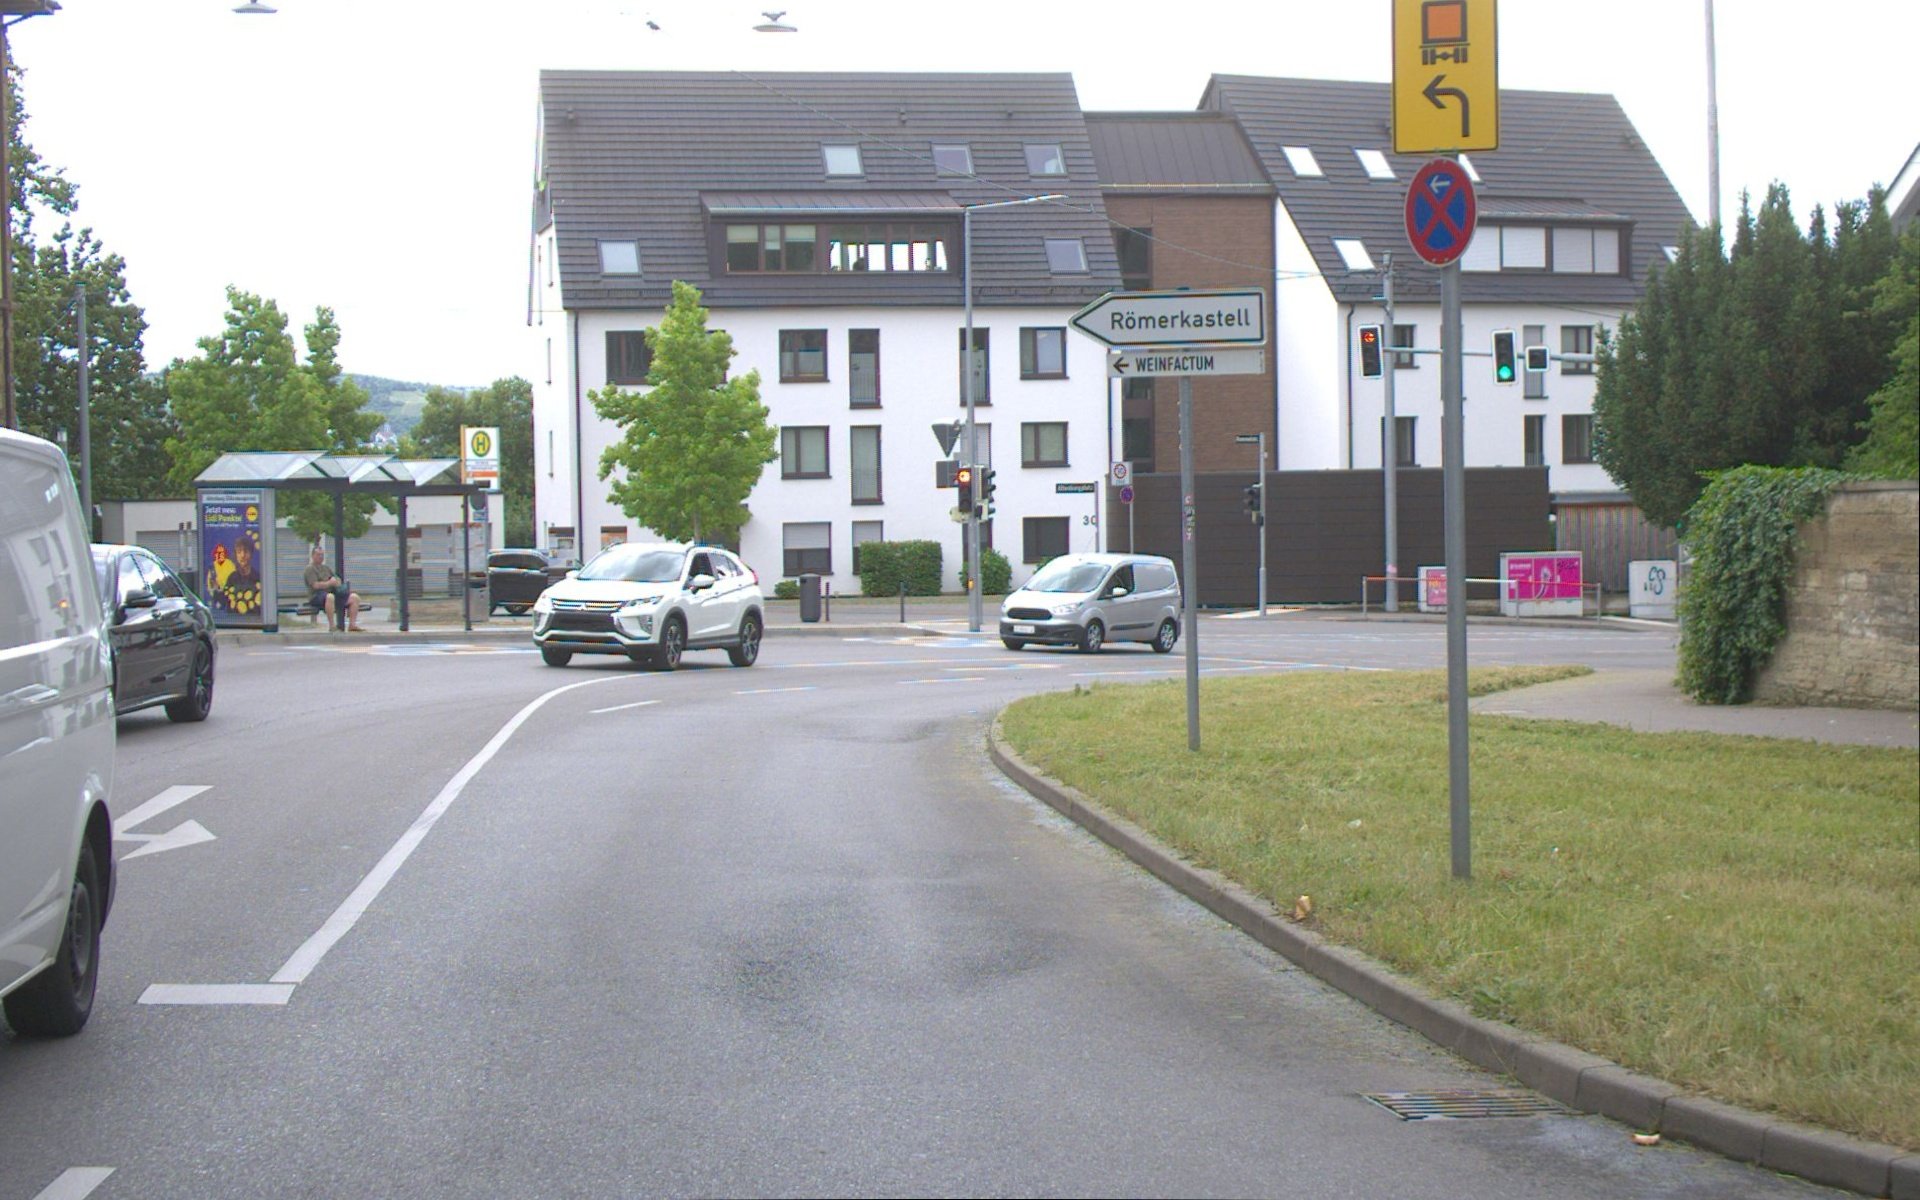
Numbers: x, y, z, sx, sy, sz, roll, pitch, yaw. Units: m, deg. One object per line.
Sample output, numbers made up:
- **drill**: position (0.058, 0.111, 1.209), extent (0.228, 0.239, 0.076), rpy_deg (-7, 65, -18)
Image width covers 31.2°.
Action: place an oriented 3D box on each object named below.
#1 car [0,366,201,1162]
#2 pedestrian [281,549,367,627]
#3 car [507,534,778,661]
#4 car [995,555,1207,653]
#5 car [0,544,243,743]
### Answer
- **car**: position (-3.476, 0.401, 8.869), extent (2.204, 1.924, 5.241), rpy_deg (-1, 1, -4)
- **pedestrian**: position (-9.860, -0.182, 53.325), extent (0.933, 1.188, 0.904), rpy_deg (1, 0, 24)
- **car**: position (-4.180, -0.032, 45.991), extent (1.793, 1.605, 4.503), rpy_deg (0, 0, 21)
- **car**: position (2.474, 0.079, 59.440), extent (1.696, 1.608, 4.075), rpy_deg (1, 0, 35)
- **car**: position (-7.173, 0.297, 27.980), extent (1.801, 1.467, 4.850), rpy_deg (-1, 1, -2)
